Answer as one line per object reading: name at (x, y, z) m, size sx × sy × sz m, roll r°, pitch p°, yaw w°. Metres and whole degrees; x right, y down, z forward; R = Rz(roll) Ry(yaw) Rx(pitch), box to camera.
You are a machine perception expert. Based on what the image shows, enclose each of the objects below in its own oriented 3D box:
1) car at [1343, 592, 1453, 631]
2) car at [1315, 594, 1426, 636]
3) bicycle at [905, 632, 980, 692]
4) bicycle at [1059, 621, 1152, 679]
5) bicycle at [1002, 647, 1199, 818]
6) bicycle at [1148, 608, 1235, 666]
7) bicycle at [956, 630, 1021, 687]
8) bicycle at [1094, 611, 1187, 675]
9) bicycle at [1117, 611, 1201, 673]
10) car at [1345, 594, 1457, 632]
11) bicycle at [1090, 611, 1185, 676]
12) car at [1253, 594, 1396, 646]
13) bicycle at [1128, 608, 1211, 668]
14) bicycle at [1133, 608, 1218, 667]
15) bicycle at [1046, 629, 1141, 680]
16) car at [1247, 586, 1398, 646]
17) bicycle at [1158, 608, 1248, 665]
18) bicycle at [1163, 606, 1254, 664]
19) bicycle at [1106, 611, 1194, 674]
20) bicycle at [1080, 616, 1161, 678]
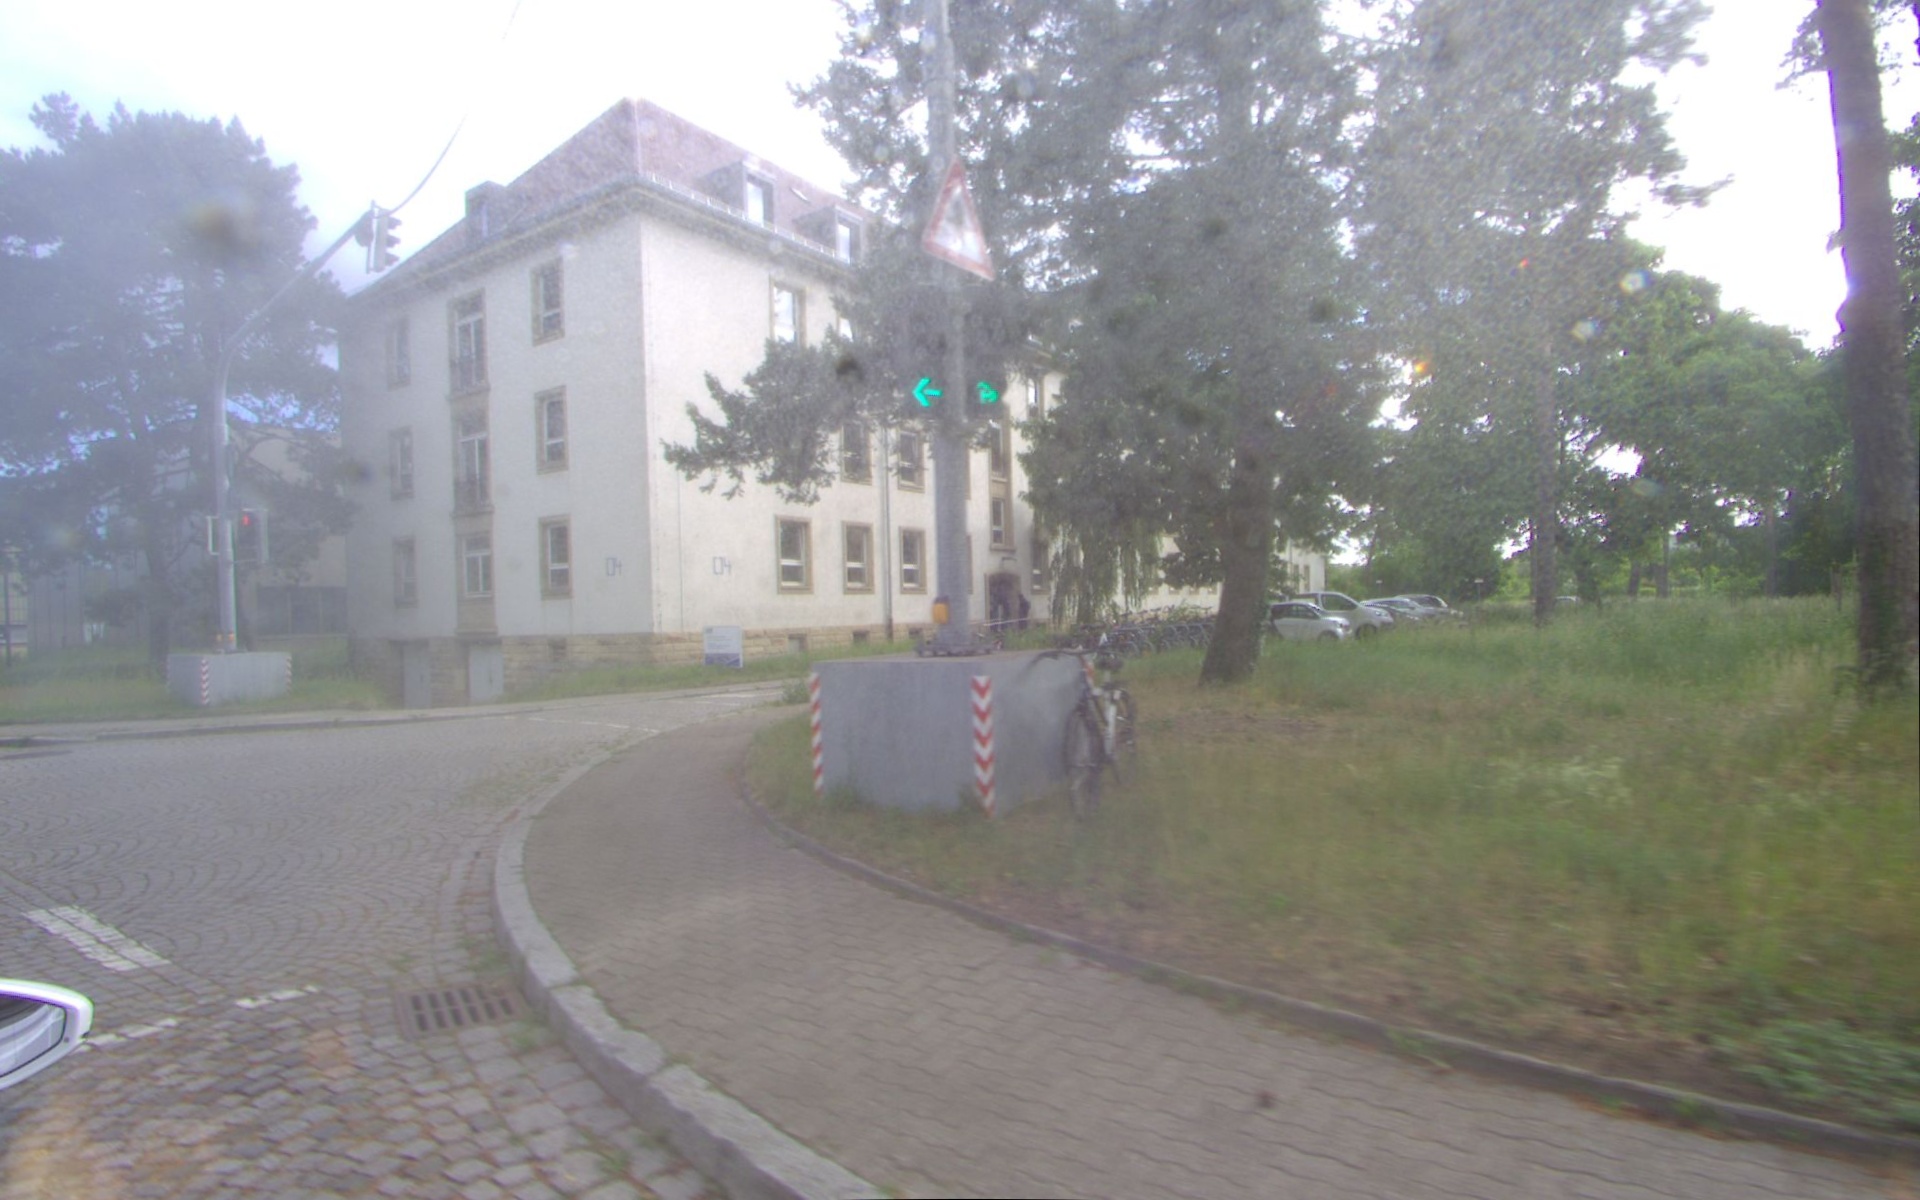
car at (21.582, 0.580, 49.402) m, size 4.634 × 1.796 × 1.987 m, roll -2°, pitch -1°, yaw 35°
car at (17.112, 0.648, 41.786) m, size 3.947 × 1.639 × 1.987 m, roll -2°, pitch -1°, yaw 35°
bicycle at (-0.290, 1.087, 17.966) m, size 0.523 × 0.993 × 1.616 m, roll -1°, pitch 0°, yaw 33°
bicycle at (2.958, 1.013, 20.509) m, size 1.880 × 1.116 × 0.539 m, roll -2°, pitch 0°, yaw 40°
bicycle at (0.966, 0.787, 6.502) m, size 0.565 × 0.885 × 1.695 m, roll -1°, pitch 0°, yaw 34°
bicycle at (5.542, 0.893, 24.052) m, size 1.992 × 1.337 × 0.538 m, roll -2°, pitch 0°, yaw 40°
bicycle at (0.577, 1.122, 19.496) m, size 0.535 × 1.028 × 1.532 m, roll -1°, pitch 0°, yaw 33°
bicycle at (3.913, 0.932, 21.852) m, size 1.952 × 1.337 × 0.574 m, roll -2°, pitch 0°, yaw 40°
bicycle at (4.501, 0.947, 22.707) m, size 1.896 × 1.337 × 0.390 m, roll -2°, pitch 0°, yaw 40°
car at (20.383, 0.635, 46.355) m, size 4.457 × 1.639 × 1.987 m, roll -2°, pitch -1°, yaw 35°
bicycle at (3.751, 0.918, 21.273) m, size 2.023 × 1.337 × 0.435 m, roll -2°, pitch 0°, yaw 40°
car at (11.474, 0.633, 31.603) m, size 3.881 × 1.550 × 1.850 m, roll -2°, pitch 0°, yaw 37°
bicycle at (4.821, 0.877, 23.127) m, size 1.831 × 1.337 × 0.553 m, roll -2°, pitch 0°, yaw 40°
bicycle at (5.079, 0.886, 23.688) m, size 1.915 × 1.337 × 0.551 m, roll -2°, pitch 0°, yaw 40°
bicycle at (2.635, 1.073, 19.941) m, size 1.879 × 0.961 × 0.539 m, roll -2°, pitch 0°, yaw 40°
car at (12.598, 0.582, 35.008) m, size 4.777 × 1.935 × 2.235 m, roll -1°, pitch 0°, yaw 19°
bicycle at (5.915, 0.899, 24.484) m, size 2.107 × 1.337 × 0.552 m, roll -2°, pitch 0°, yaw 40°
bicycle at (6.214, 0.868, 25.138) m, size 2.077 × 1.385 × 0.754 m, roll -1°, pitch 0°, yaw 40°
bicycle at (4.226, 0.943, 22.351) m, size 1.897 × 1.337 × 0.503 m, roll -2°, pitch 0°, yaw 40°
bicycle at (3.340, 0.976, 20.946) m, size 1.619 × 1.231 × 0.539 m, roll -2°, pitch 0°, yaw 40°
